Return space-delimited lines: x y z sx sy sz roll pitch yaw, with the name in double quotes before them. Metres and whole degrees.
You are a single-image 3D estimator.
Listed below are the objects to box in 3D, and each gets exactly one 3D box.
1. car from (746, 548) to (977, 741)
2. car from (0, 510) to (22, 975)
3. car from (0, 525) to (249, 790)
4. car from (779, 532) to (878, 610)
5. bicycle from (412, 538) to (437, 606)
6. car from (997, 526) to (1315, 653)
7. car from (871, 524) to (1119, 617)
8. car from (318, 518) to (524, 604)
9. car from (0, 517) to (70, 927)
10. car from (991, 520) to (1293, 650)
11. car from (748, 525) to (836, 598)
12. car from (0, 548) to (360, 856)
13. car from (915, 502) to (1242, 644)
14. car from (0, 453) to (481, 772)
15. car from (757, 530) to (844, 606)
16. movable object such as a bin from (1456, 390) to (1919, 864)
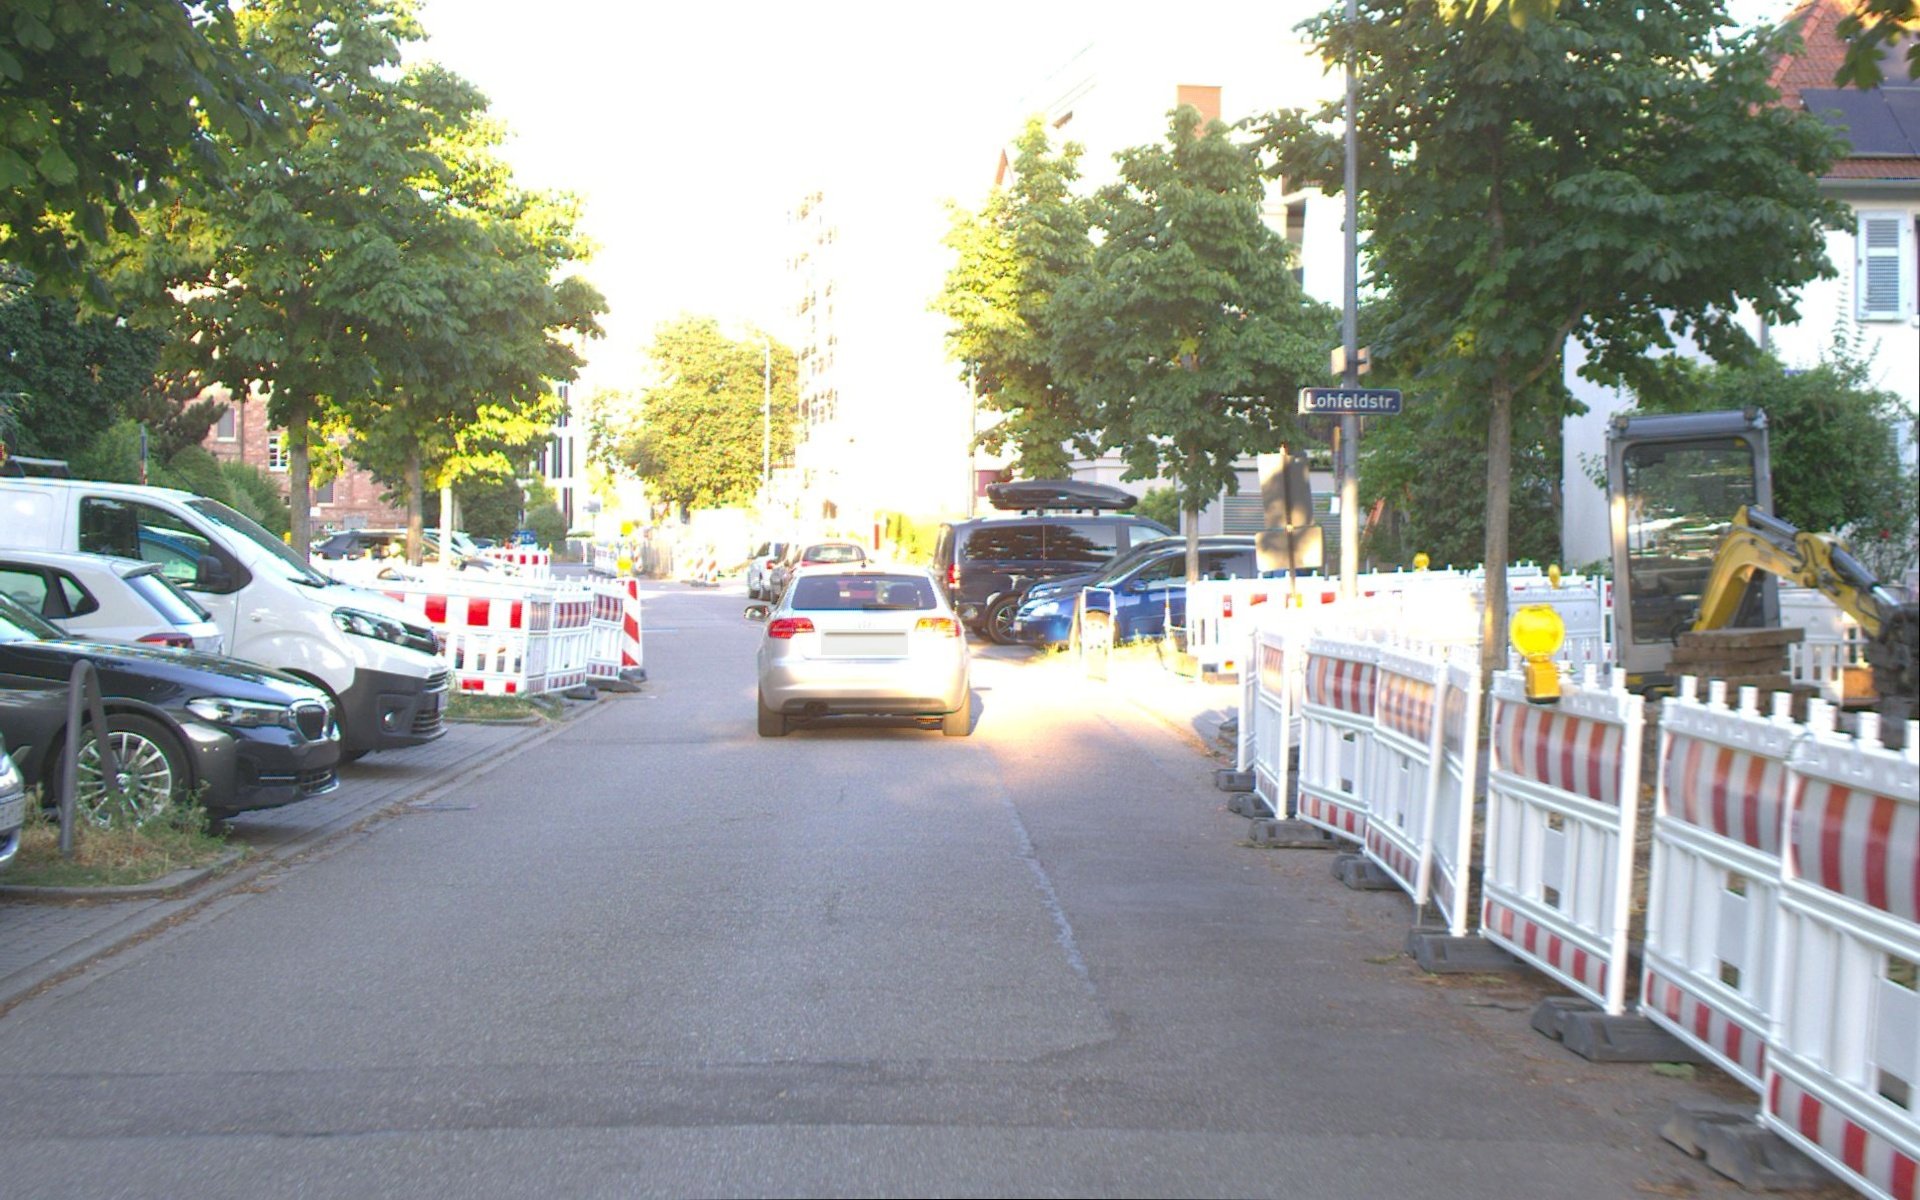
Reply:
"car" -0.813 0.323 29.187 1.807 1.483 4.000 -1 1 -1
"car" -5.443 0.476 11.049 4.405 1.609 1.900 1 1 -5
"car" -6.145 0.291 20.523 3.414 1.478 1.759 1 1 0
"car" -2.689 -0.604 69.678 1.730 1.478 3.558 1 1 -6
"bicycle" -9.989 -0.538 64.097 0.406 1.223 1.988 1 1 -10
"car" 2.654 -0.153 47.027 3.986 1.645 1.765 1 1 -12
"car" 0.607 -0.533 61.917 4.148 1.566 1.798 1 1 -12
"car" -10.758 -0.794 68.633 3.986 1.620 2.001 1 1 -9
"car" -5.731 0.425 13.675 3.986 1.573 1.802 1 1 -5
"car" 2.597 -0.233 49.606 3.986 1.762 2.001 1 1 -9
"car" -3.924 -0.914 80.037 1.808 1.607 3.582 1 1 -6
"car" -5.677 0.444 17.884 4.771 1.465 1.881 2 1 -2
"car" 1.758 -0.420 51.941 4.555 2.016 2.102 1 1 -10
"car" -5.740 0.039 23.148 4.771 2.007 2.000 1 1 -2
"car" -3.515 -0.715 75.172 1.663 1.568 3.441 1 1 -6
"movable object such as a bin" 4.891 0.082 20.136 2.627 2.394 5.199 1 1 -7
